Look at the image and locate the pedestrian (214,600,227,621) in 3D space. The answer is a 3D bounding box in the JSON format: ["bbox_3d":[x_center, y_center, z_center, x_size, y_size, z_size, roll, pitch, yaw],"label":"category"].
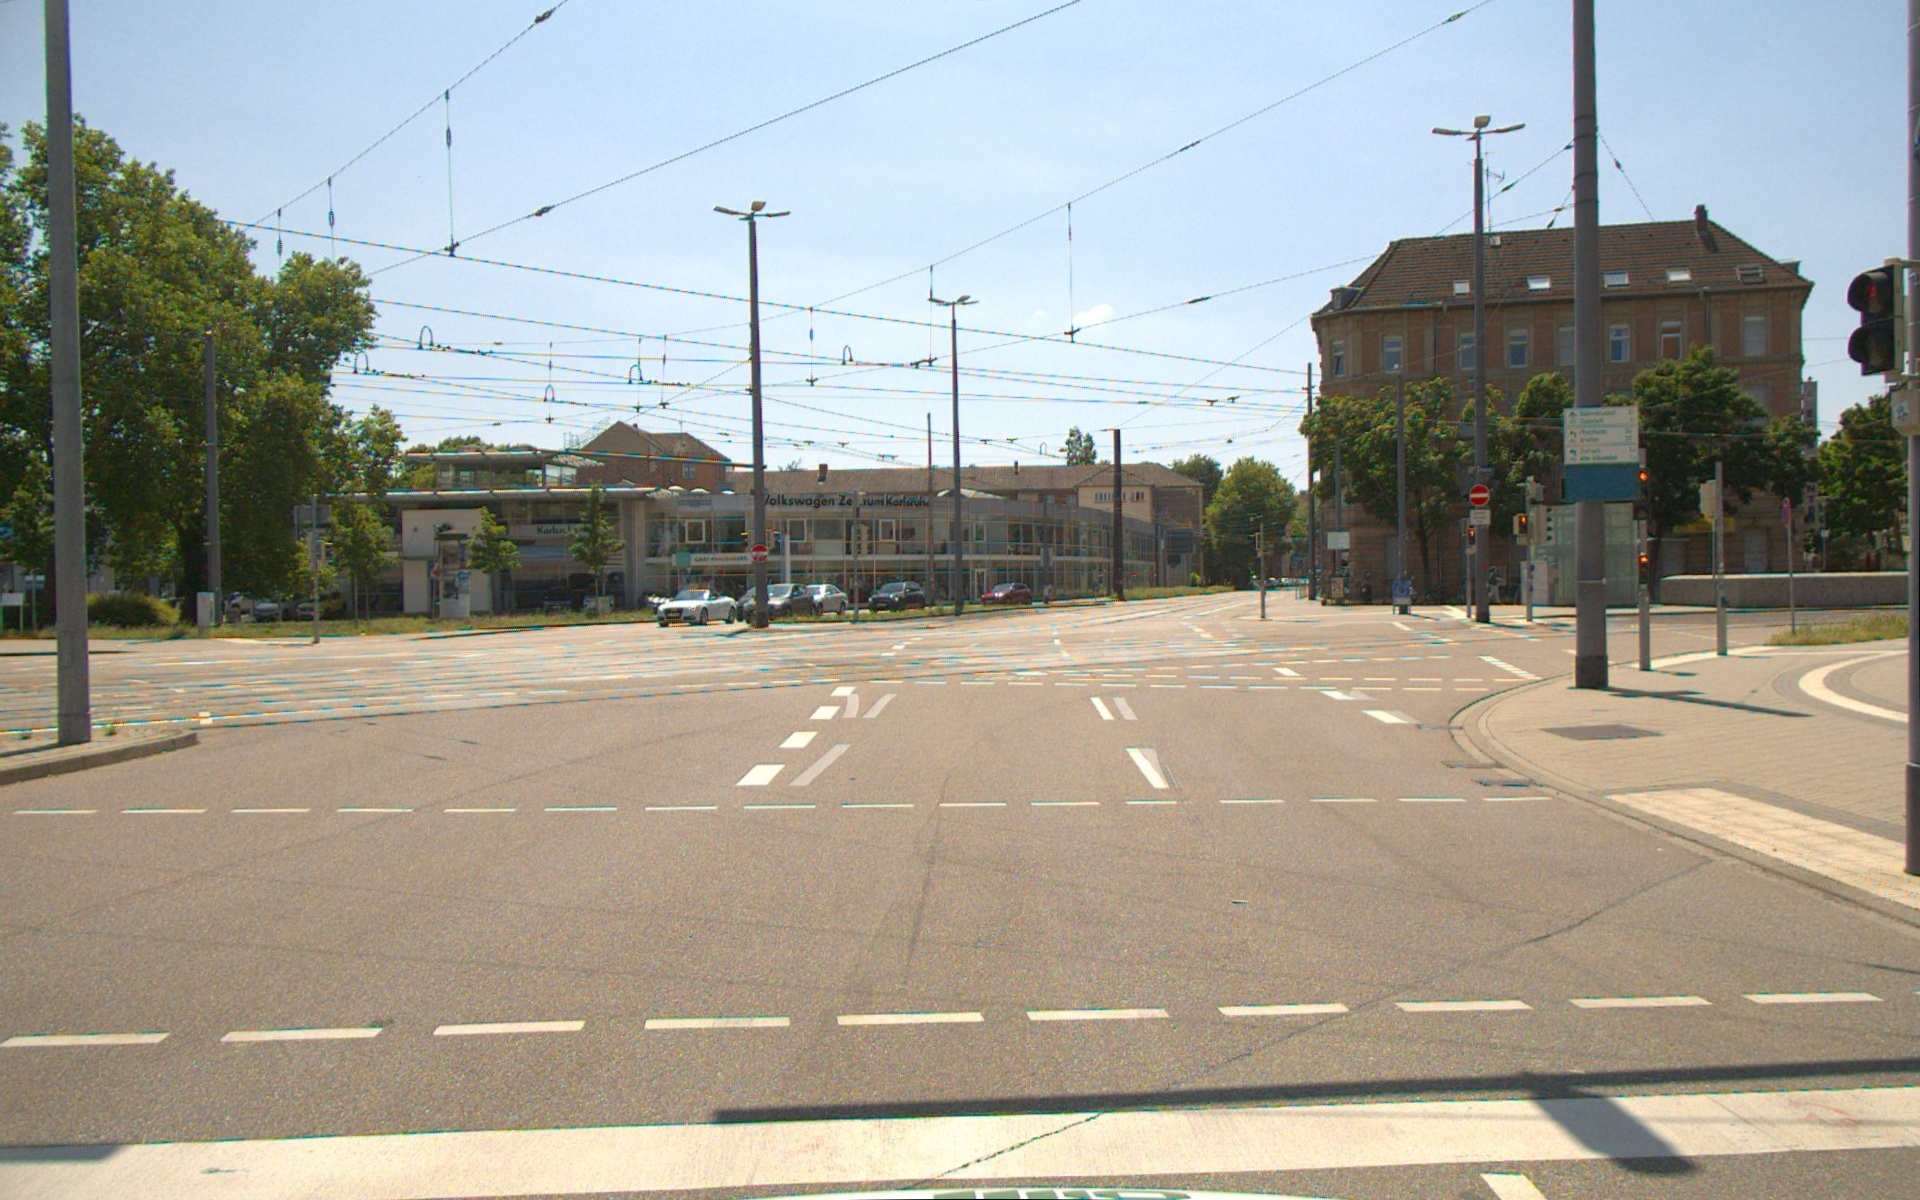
[{"bbox_3d":[-43.725,0.626,97.810,0.502,1.225,0.446,-1,0,5],"label":"pedestrian"}]

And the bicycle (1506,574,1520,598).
[{"bbox_3d":[26.471,-0.663,79.162,0.539,1.139,1.931,-1,0,15],"label":"bicycle"}]

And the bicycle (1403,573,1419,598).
[{"bbox_3d":[21.784,-0.674,79.904,0.433,1.166,2.095,1,0,6],"label":"bicycle"}]

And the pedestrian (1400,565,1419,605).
[{"bbox_3d":[19.389,-0.640,71.385,0.455,1.738,0.635,-1,0,-24],"label":"pedestrian"}]

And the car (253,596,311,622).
[{"bbox_3d":[-41.414,0.536,101.147,1.731,1.536,4.327,-1,1,0],"label":"car"}]

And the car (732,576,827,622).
[{"bbox_3d":[-6.977,-0.066,64.458,1.951,1.666,4.850,-1,1,16],"label":"car"}]

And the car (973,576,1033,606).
[{"bbox_3d":[2.677,-0.548,102.799,1.958,1.807,3.989,1,-1,32],"label":"car"}]

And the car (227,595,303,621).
[{"bbox_3d":[-44.863,0.517,106.839,4.279,1.536,1.750,-1,1,-36],"label":"car"}]

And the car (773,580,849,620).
[{"bbox_3d":[-6.816,-0.019,76.231,1.951,1.770,4.546,-1,1,16],"label":"car"}]

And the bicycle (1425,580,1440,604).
[{"bbox_3d":[22.647,-0.401,79.261,0.539,1.139,1.821,-1,0,19],"label":"bicycle"}]

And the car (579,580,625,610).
[{"bbox_3d":[-21.562,-0.295,99.777,1.881,1.737,4.000,1,0,0],"label":"car"}]

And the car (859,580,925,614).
[{"bbox_3d":[-3.531,-0.193,86.874,2.034,1.712,4.850,-1,1,16],"label":"car"}]

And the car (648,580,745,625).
[{"bbox_3d":[-10.158,0.069,64.098,2.032,1.607,4.850,-1,1,13],"label":"car"}]

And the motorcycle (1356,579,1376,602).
[{"bbox_3d":[19.475,-0.464,79.366,0.568,1.093,1.947,-1,0,3],"label":"motorcycle"}]

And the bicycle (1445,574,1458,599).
[{"bbox_3d":[23.463,-0.648,78.902,0.539,1.139,1.822,-1,1,15],"label":"bicycle"}]

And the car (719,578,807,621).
[{"bbox_3d":[-8.320,-0.055,70.265,1.951,1.730,4.850,-1,1,16],"label":"car"}]

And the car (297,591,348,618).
[{"bbox_3d":[-38.754,0.244,100.655,1.732,1.536,4.322,-1,1,-5],"label":"car"}]

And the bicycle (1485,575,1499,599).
[{"bbox_3d":[25.438,-0.634,79.081,0.539,1.139,1.872,-1,0,15],"label":"bicycle"}]

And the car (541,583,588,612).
[{"bbox_3d":[-23.822,-0.134,99.698,1.881,1.737,4.000,1,0,0],"label":"car"}]
